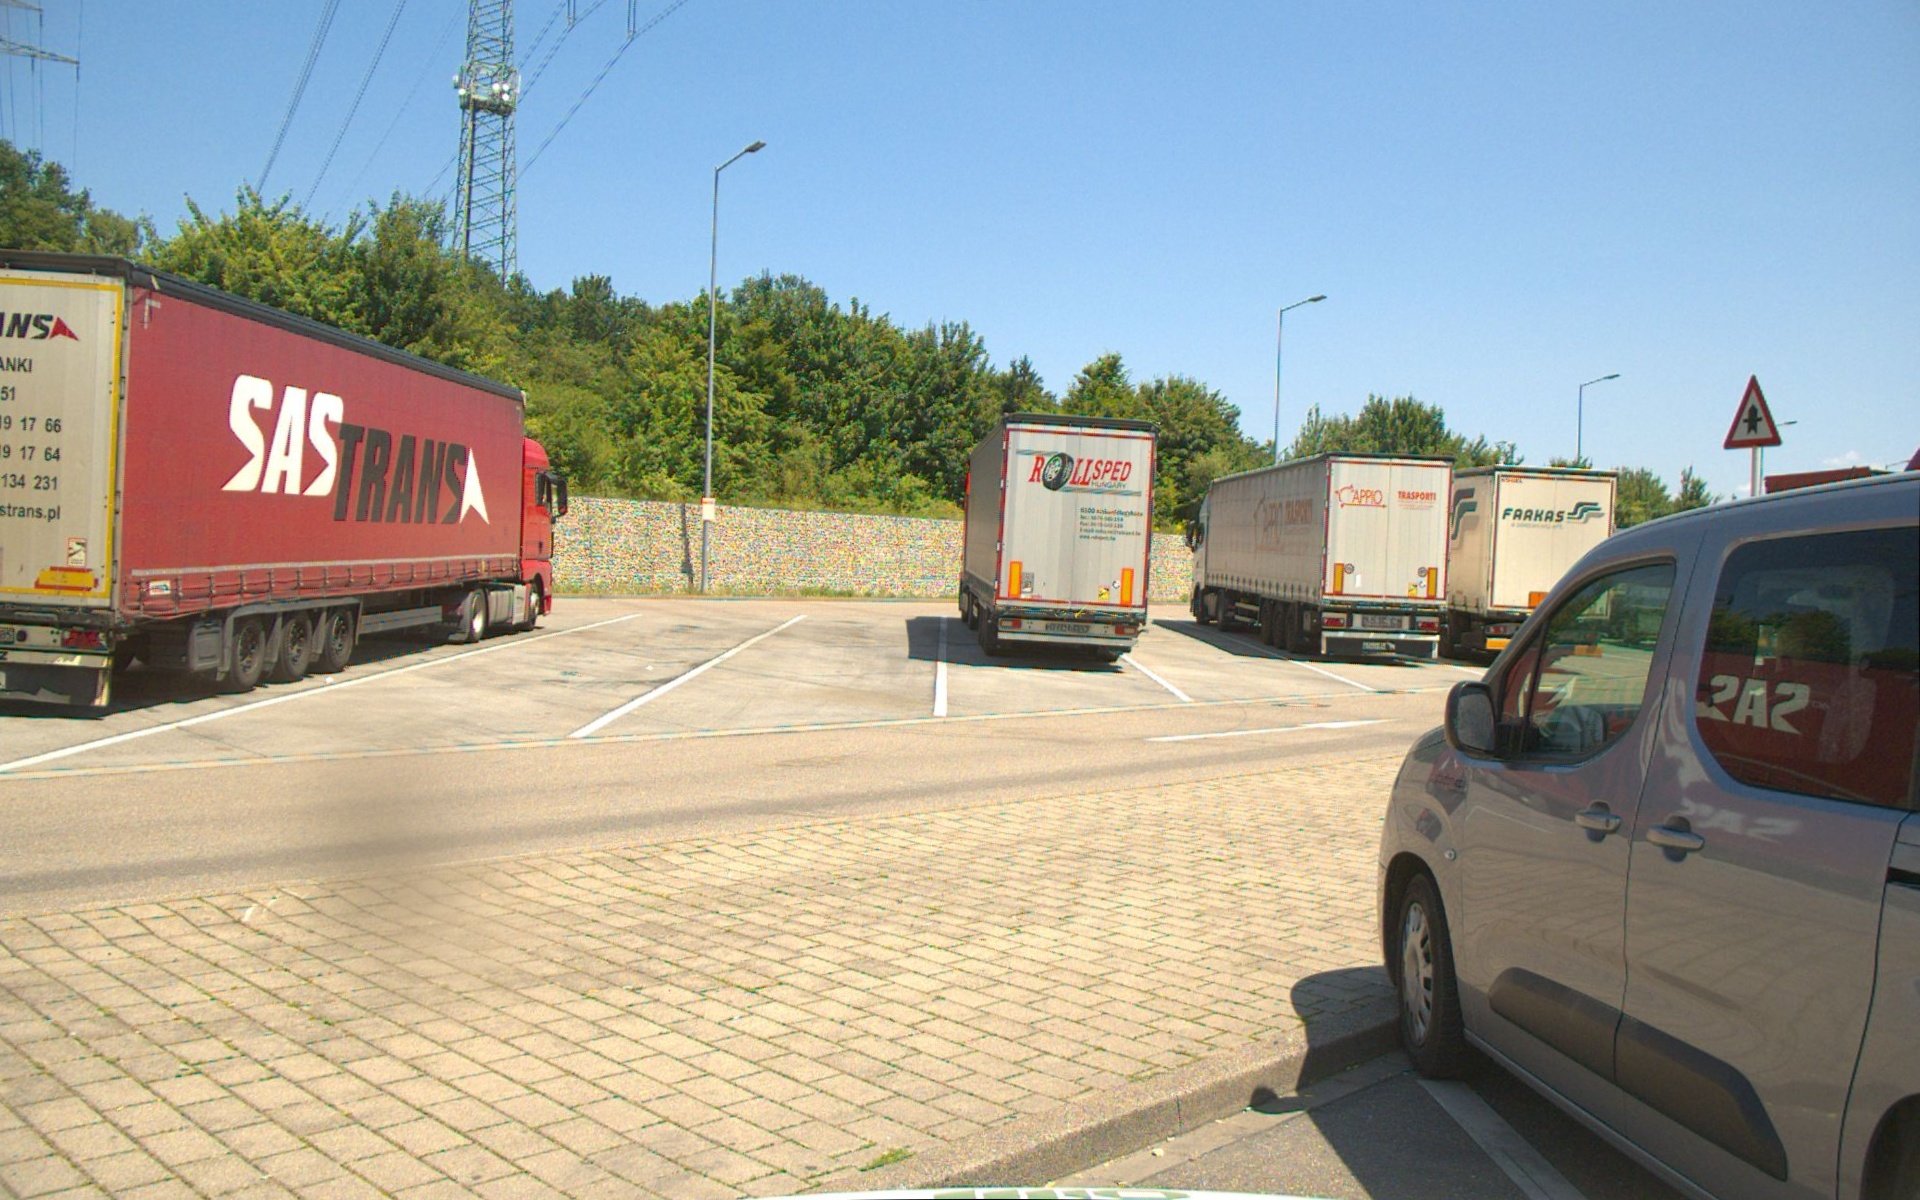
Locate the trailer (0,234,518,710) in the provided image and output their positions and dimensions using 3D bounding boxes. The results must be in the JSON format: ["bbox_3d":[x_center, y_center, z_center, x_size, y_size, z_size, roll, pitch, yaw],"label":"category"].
[{"bbox_3d":[-8.681,-1.261,21.057,2.694,4.128,13.284,1,1,-1],"label":"trailer"}]

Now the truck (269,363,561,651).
[{"bbox_3d":[-8.776,-1.424,27.559,2.687,4.152,6.828,1,1,-1],"label":"truck"}]

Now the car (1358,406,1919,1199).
[{"bbox_3d":[2.434,0.556,3.838,1.790,1.784,3.997,1,1,-4],"label":"car"}]

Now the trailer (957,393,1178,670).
[{"bbox_3d":[1.697,-1.319,32.700,3.008,4.301,12.805,2,2,-2],"label":"trailer"}]

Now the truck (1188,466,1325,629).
[{"bbox_3d":[8.068,-1.418,45.631,2.701,4.196,5.283,1,1,-1],"label":"truck"}]

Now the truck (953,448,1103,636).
[{"bbox_3d":[1.463,-1.385,39.465,2.965,3.997,6.845,2,2,-2],"label":"truck"}]

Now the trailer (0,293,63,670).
[{"bbox_3d":[-12.409,-1.311,15.467,2.689,4.337,9.733,1,1,0],"label":"trailer"}]

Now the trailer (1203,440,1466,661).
[{"bbox_3d":[8.203,-1.093,38.632,2.818,4.196,13.569,1,1,-1],"label":"trailer"}]

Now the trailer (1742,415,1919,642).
[{"bbox_3d":[20.678,-1.364,34.657,8.539,4.332,2.823,0,1,-23],"label":"trailer"}]

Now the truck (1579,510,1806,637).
[{"bbox_3d":[21.953,-0.817,50.209,2.963,3.497,8.529,1,1,-1],"label":"truck"}]

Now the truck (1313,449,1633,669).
[{"bbox_3d":[11.713,-0.963,40.017,2.846,4.195,14.525,3,1,-1],"label":"truck"}]

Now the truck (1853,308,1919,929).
[{"bbox_3d":[4.980,0.128,4.959,1.952,2.669,5.305,1,1,3],"label":"truck"}]
